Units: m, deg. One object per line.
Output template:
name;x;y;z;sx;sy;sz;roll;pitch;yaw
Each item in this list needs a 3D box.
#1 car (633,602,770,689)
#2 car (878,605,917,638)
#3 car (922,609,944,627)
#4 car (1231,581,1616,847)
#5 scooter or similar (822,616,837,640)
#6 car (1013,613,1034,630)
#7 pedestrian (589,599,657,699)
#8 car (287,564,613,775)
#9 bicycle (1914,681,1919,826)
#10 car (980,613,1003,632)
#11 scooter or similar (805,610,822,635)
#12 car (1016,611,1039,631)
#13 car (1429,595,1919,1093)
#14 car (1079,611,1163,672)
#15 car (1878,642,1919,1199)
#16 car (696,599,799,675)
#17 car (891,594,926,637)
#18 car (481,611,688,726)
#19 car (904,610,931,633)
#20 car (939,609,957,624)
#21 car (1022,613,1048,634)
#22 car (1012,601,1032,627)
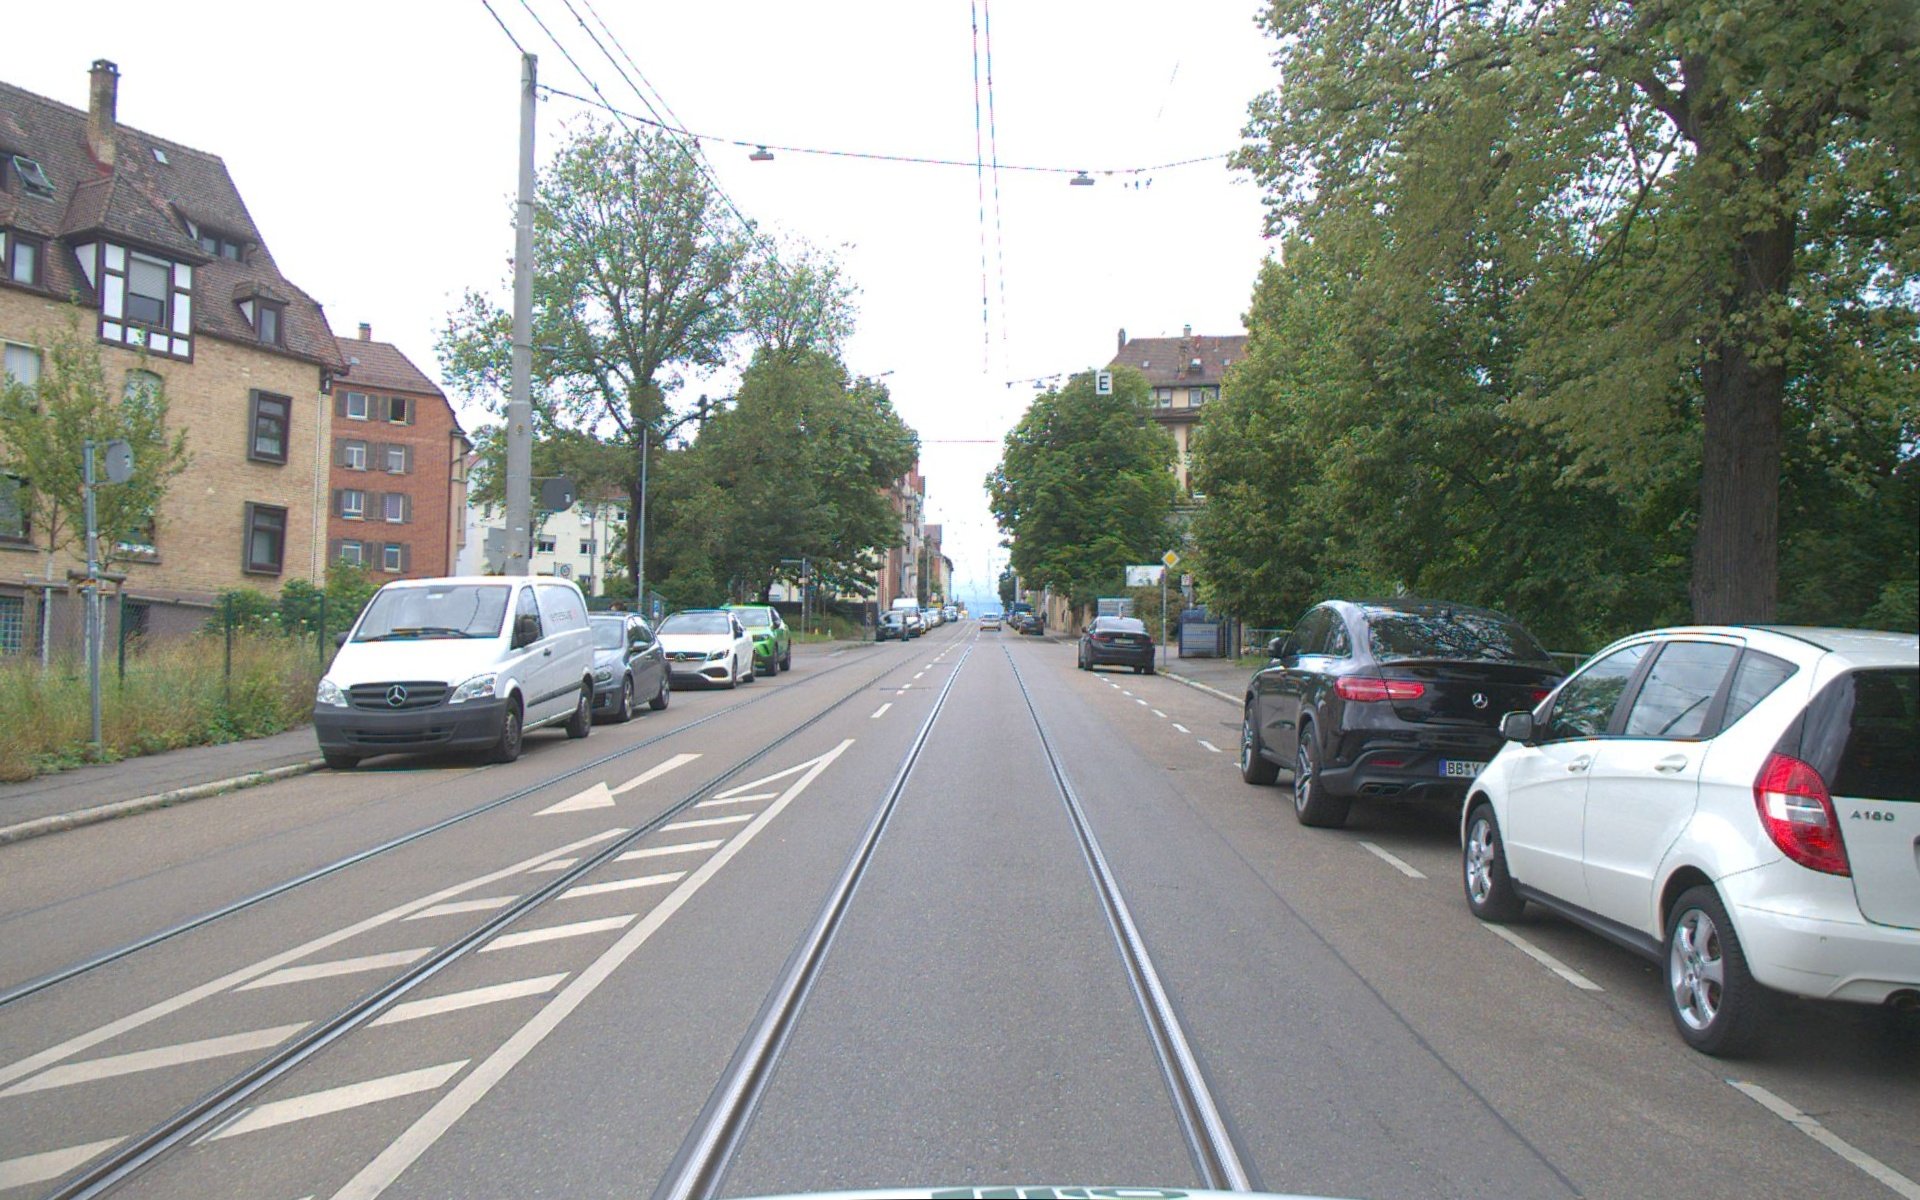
car;-4.914;0.851;32.052;1.846;1.553;4.663;-1;-1;1
car;-3.692;1.288;98.308;1.952;1.840;4.001;1;-1;2
car;-2.559;1.680;156.631;1.884;1.629;4.000;1;-1;1
car;3.545;0.781;13.710;1.838;1.707;5.063;3;0;2
scooter or similar;-7.376;1.595;93.574;0.676;1.362;1.639;1;-1;2
car;6.123;2.092;160.341;1.952;1.680;4.000;0;-1;2
pedestrian;-5.719;0.819;28.058;0.799;1.657;0.904;2;-2;-38
car;-5.311;0.697;17.994;1.994;1.914;4.884;-2;-1;0
bicycle;6.941;1.050;10.584;0.419;0.993;1.791;1;-1;-9
car;2.676;1.938;140.932;1.952;1.525;4.312;1;-1;1
scooter or similar;-8.299;1.269;93.737;0.676;1.362;1.639;1;-1;2
car;6.022;1.916;147.656;1.952;1.747;4.000;0;-1;2
car;3.664;0.883;7.678;1.691;1.659;4.087;4;0;0
car;4.223;1.081;44.087;1.790;1.455;4.847;3;-1;1
car;3.519;0.930;2.786;1.596;1.543;4.063;3;0;-1
car;-4.746;0.813;37.463;1.687;1.607;4.181;0;-1;1
car;-3.477;1.080;112.805;2.185;2.813;5.798;1;-1;-1
car;-5.239;0.908;23.703;1.857;1.458;4.511;-1;0;1
car;-3.125;1.644;123.108;1.953;1.628;4.311;1;-1;-1
car;-1.432;1.968;196.149;1.952;1.629;4.000;1;-1;1
car;5.752;1.815;127.003;1.952;1.557;4.313;1;-1;2
car;6.244;1.424;165.859;1.952;2.619;4.705;0;-1;2
